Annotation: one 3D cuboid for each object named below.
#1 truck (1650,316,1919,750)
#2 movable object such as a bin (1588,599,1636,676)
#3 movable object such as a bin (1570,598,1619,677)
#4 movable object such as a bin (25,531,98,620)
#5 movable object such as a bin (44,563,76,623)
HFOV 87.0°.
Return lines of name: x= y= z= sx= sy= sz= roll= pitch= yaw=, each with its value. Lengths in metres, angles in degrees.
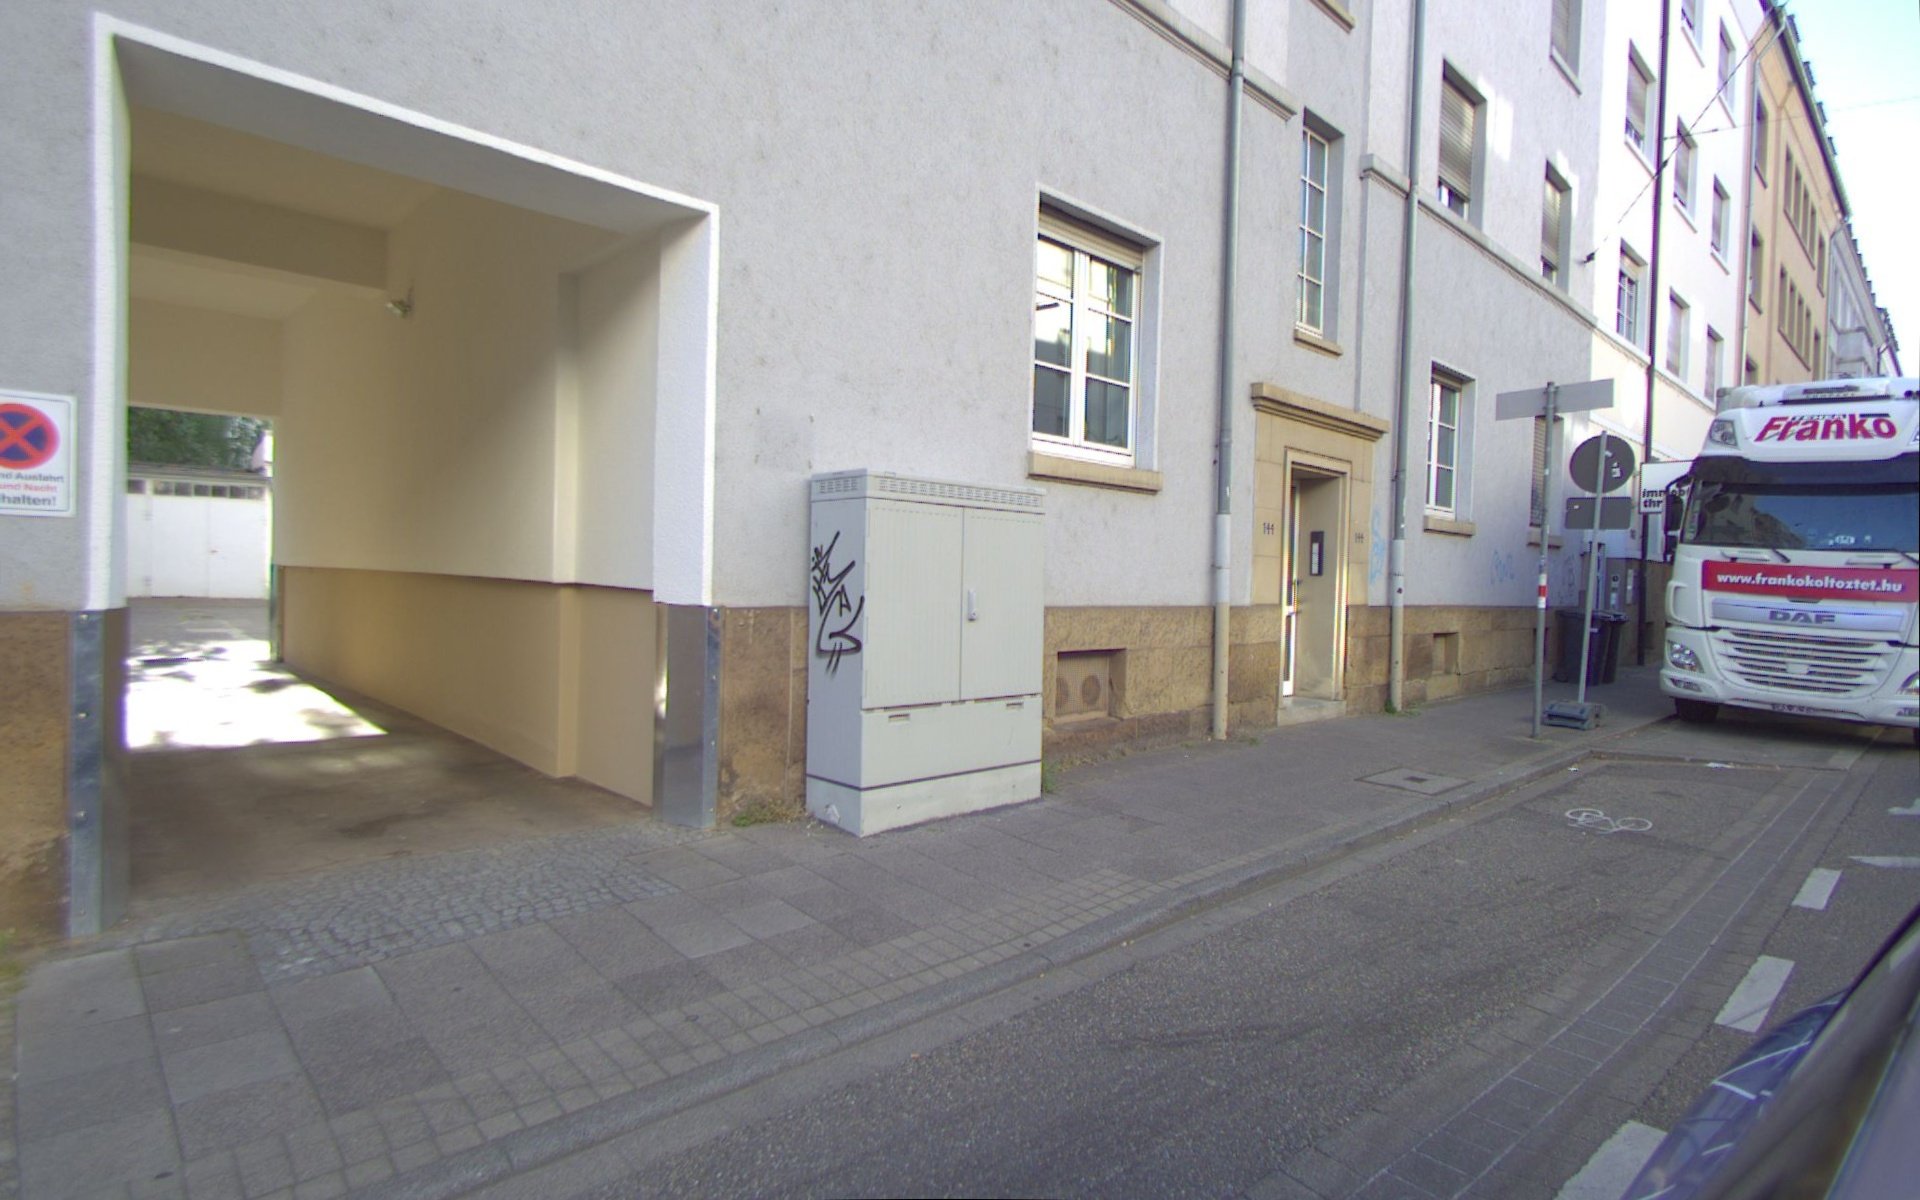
truck: x=12.572 y=-0.614 z=13.824 sx=11.511 sy=4.012 sz=2.894 roll=0 pitch=0 yaw=-44
movable object such as a bin: x=9.625 y=0.534 z=14.939 sx=0.511 sy=1.106 sz=0.488 roll=0 pitch=0 yaw=45
movable object such as a bin: x=9.147 y=0.531 z=14.588 sx=0.511 sy=1.106 sz=0.488 roll=0 pitch=0 yaw=45
movable object such as a bin: x=-14.724 y=-0.410 z=16.587 sx=0.874 sy=1.409 sz=0.758 roll=0 pitch=4 yaw=-44
movable object such as a bin: x=-14.308 y=-0.111 z=16.092 sx=0.366 sy=0.919 sz=0.420 roll=0 pitch=3 yaw=-44
